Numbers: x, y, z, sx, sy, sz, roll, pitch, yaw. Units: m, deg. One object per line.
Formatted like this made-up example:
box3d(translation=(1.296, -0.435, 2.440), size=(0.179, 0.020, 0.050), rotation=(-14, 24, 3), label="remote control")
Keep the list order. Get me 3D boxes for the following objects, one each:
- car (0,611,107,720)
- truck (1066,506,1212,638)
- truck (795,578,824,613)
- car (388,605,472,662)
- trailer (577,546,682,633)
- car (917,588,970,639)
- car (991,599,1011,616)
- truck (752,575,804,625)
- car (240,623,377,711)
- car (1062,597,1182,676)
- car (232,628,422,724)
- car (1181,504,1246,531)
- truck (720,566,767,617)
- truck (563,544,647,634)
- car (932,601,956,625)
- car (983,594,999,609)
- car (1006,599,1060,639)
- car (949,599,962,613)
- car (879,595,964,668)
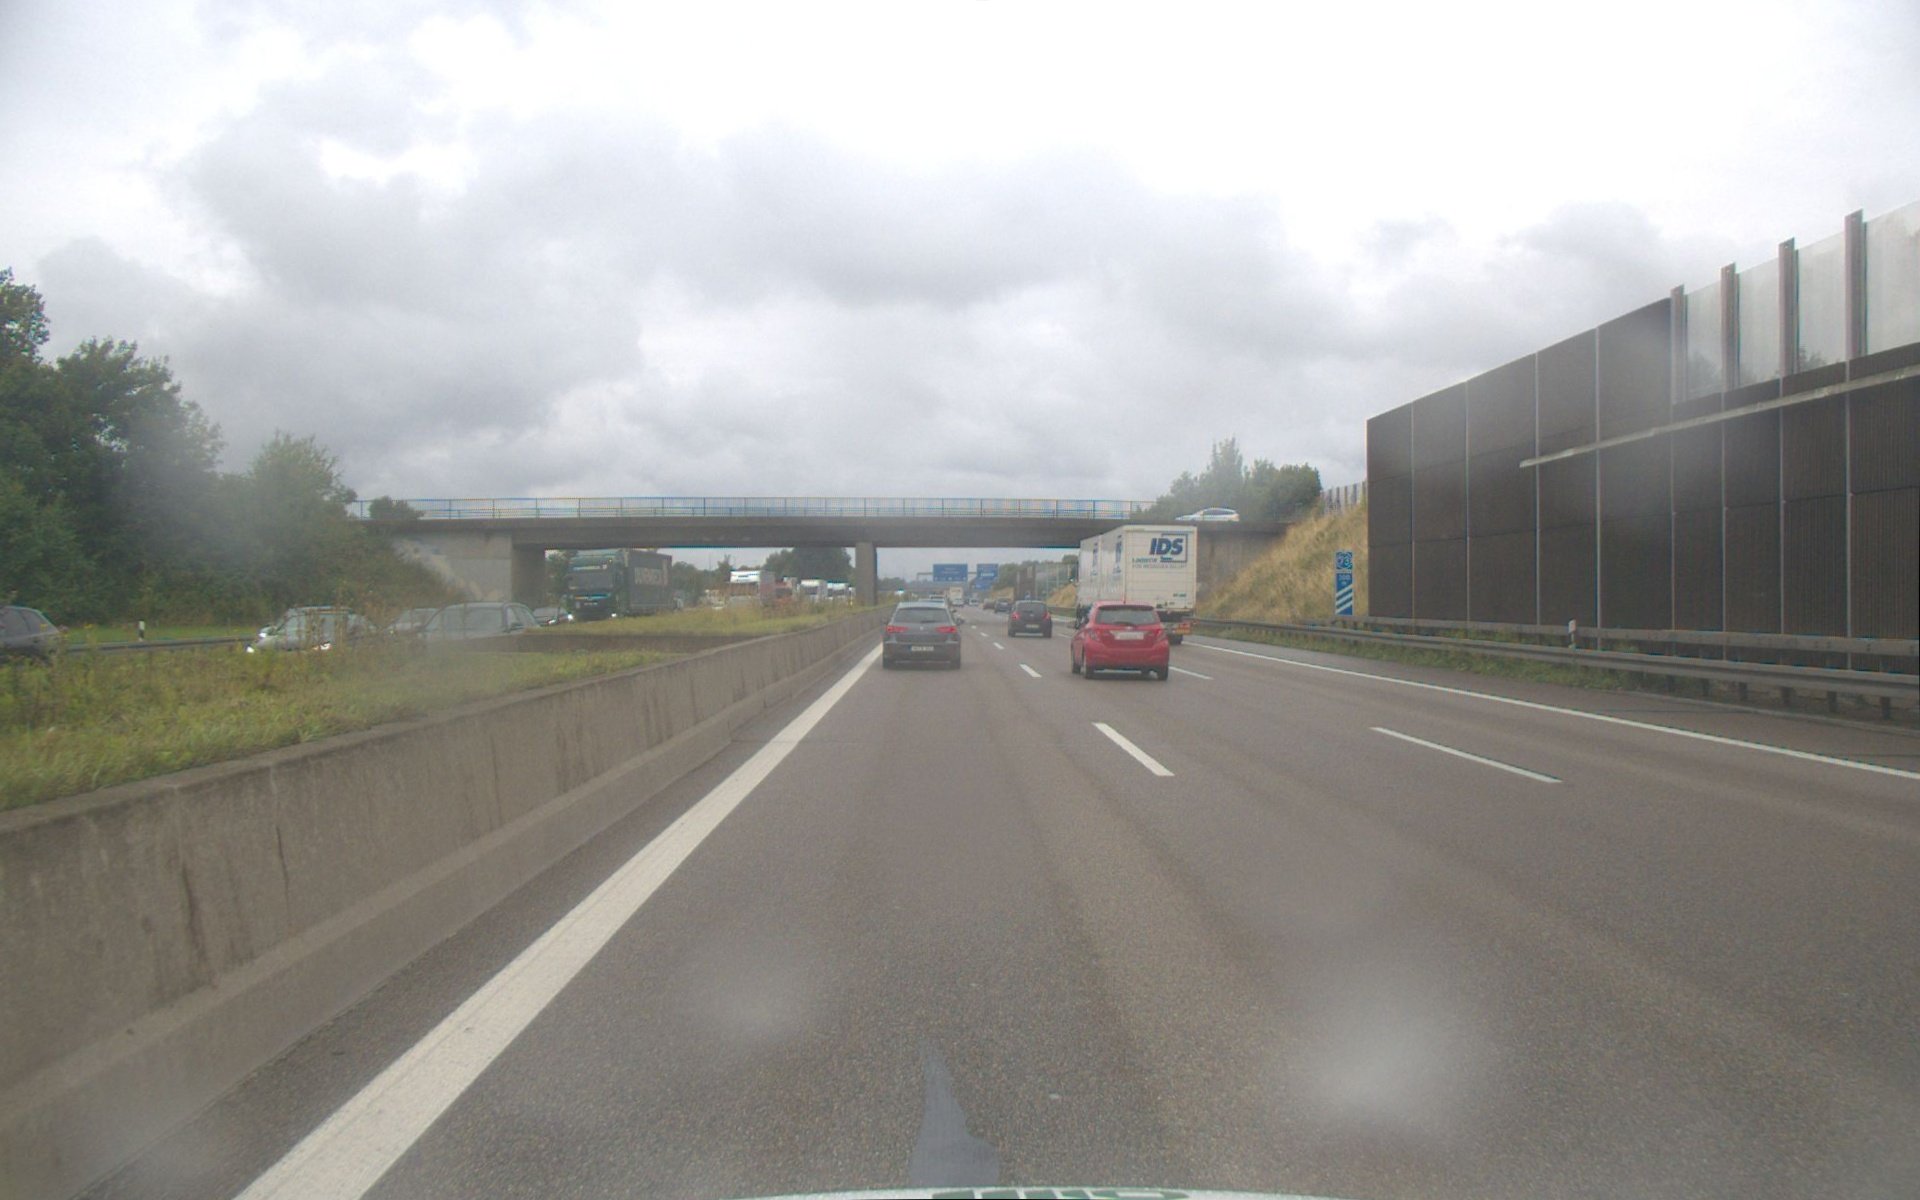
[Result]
box3d(translation=(-16.767, 1.087, 27.999), size=(2.050, 1.740, 4.961), rotation=(1, 0, 0), label="car")
box3d(translation=(6.652, -0.872, 65.186), size=(3.217, 4.370, 19.027), rotation=(1, 0, -1), label="truck")
box3d(translation=(-19.632, -0.548, 216.112), size=(2.916, 4.394, 9.667), rotation=(1, -1, 0), label="truck")
box3d(translation=(-20.029, 1.220, 62.726), size=(1.783, 2.004, 5.256), rotation=(-1, 0, -4), label="car")
box3d(translation=(-17.140, -0.463, 86.978), size=(2.701, 4.121, 14.515), rotation=(1, 0, -1), label="trailer")
box3d(translation=(-0.635, 0.505, 64.445), size=(1.953, 1.893, 3.999), rotation=(-1, 0, -1), label="car")
box3d(translation=(4.236, 0.755, 170.275), size=(1.808, 1.716, 3.998), rotation=(2, -1, -2), label="car")
box3d(translation=(-19.338, 0.018, 176.517), size=(3.951, 5.031, 14.430), rotation=(1, 0, -1), label="truck")
box3d(translation=(-16.709, 1.672, 42.621), size=(1.953, 2.049, 3.999), rotation=(-1, 0, -1), label="car")
box3d(translation=(3.217, 0.690, 33.691), size=(1.853, 1.472, 4.683), rotation=(1, 0, -2), label="car")
box3d(translation=(-12.949, 1.498, 34.199), size=(2.050, 1.740, 4.800), rotation=(1, 0, 0), label="car")
box3d(translation=(17.258, -5.605, 112.681), size=(3.919, 1.646, 1.873), rotation=(2, -1, -14), label="car")
box3d(translation=(-18.407, -0.683, 140.940), size=(3.206, 4.116, 5.291), rotation=(1, -1, -1), label="truck")
box3d(translation=(-17.077, -0.478, 79.928), size=(2.701, 4.121, 6.253), rotation=(1, -1, -1), label="truck")
box3d(translation=(-1.280, 0.992, 127.932), size=(1.670, 1.828, 3.853), rotation=(-1, 0, -3), label="car")
box3d(translation=(4.122, 0.198, 221.339), size=(1.953, 1.844, 4.227), rotation=(-1, 0, -1), label="car")
box3d(translation=(2.930, 0.745, 67.195), size=(1.882, 1.548, 4.621), rotation=(1, 0, -1), label="car")
box3d(translation=(-0.660, 0.977, 259.783), size=(1.953, 2.049, 4.240), rotation=(1, -1, -1), label="car")
box3d(translation=(-0.857, 0.684, 36.799), size=(1.733, 1.493, 3.999), rotation=(2, 0, -1), label="car")
